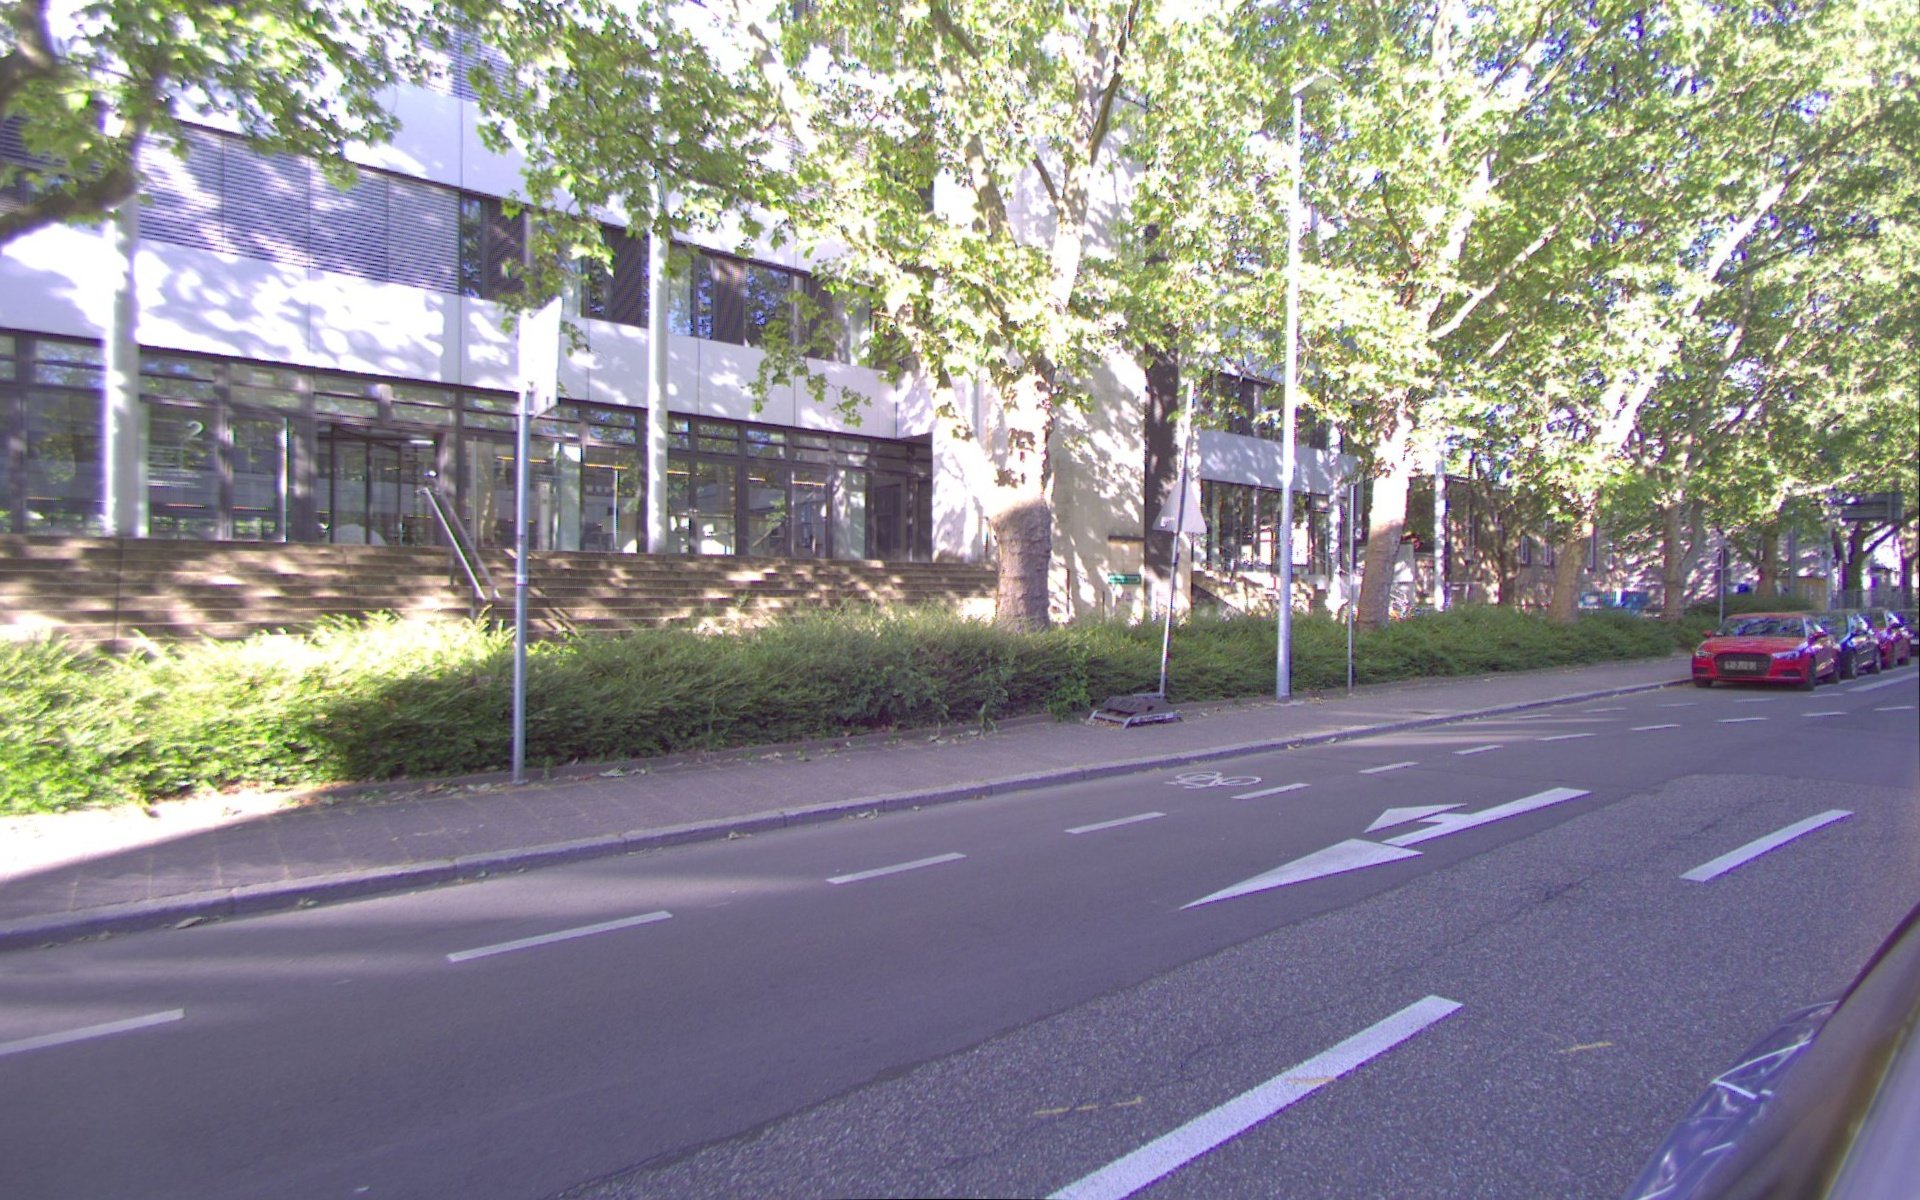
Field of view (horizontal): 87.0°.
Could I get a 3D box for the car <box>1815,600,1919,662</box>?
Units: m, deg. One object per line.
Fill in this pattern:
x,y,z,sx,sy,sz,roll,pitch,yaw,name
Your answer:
23.378,0.740,25.932,3.714,1.452,1.665,0,0,-40,car

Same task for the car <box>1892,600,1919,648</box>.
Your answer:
30.895,0.731,31.947,3.929,1.469,1.685,0,0,-40,car

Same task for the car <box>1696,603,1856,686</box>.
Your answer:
15.893,0.806,19.655,3.960,1.439,1.722,0,-2,-41,car

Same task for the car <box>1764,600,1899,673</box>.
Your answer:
19.513,0.761,22.612,3.929,1.486,1.685,0,-1,-40,car
